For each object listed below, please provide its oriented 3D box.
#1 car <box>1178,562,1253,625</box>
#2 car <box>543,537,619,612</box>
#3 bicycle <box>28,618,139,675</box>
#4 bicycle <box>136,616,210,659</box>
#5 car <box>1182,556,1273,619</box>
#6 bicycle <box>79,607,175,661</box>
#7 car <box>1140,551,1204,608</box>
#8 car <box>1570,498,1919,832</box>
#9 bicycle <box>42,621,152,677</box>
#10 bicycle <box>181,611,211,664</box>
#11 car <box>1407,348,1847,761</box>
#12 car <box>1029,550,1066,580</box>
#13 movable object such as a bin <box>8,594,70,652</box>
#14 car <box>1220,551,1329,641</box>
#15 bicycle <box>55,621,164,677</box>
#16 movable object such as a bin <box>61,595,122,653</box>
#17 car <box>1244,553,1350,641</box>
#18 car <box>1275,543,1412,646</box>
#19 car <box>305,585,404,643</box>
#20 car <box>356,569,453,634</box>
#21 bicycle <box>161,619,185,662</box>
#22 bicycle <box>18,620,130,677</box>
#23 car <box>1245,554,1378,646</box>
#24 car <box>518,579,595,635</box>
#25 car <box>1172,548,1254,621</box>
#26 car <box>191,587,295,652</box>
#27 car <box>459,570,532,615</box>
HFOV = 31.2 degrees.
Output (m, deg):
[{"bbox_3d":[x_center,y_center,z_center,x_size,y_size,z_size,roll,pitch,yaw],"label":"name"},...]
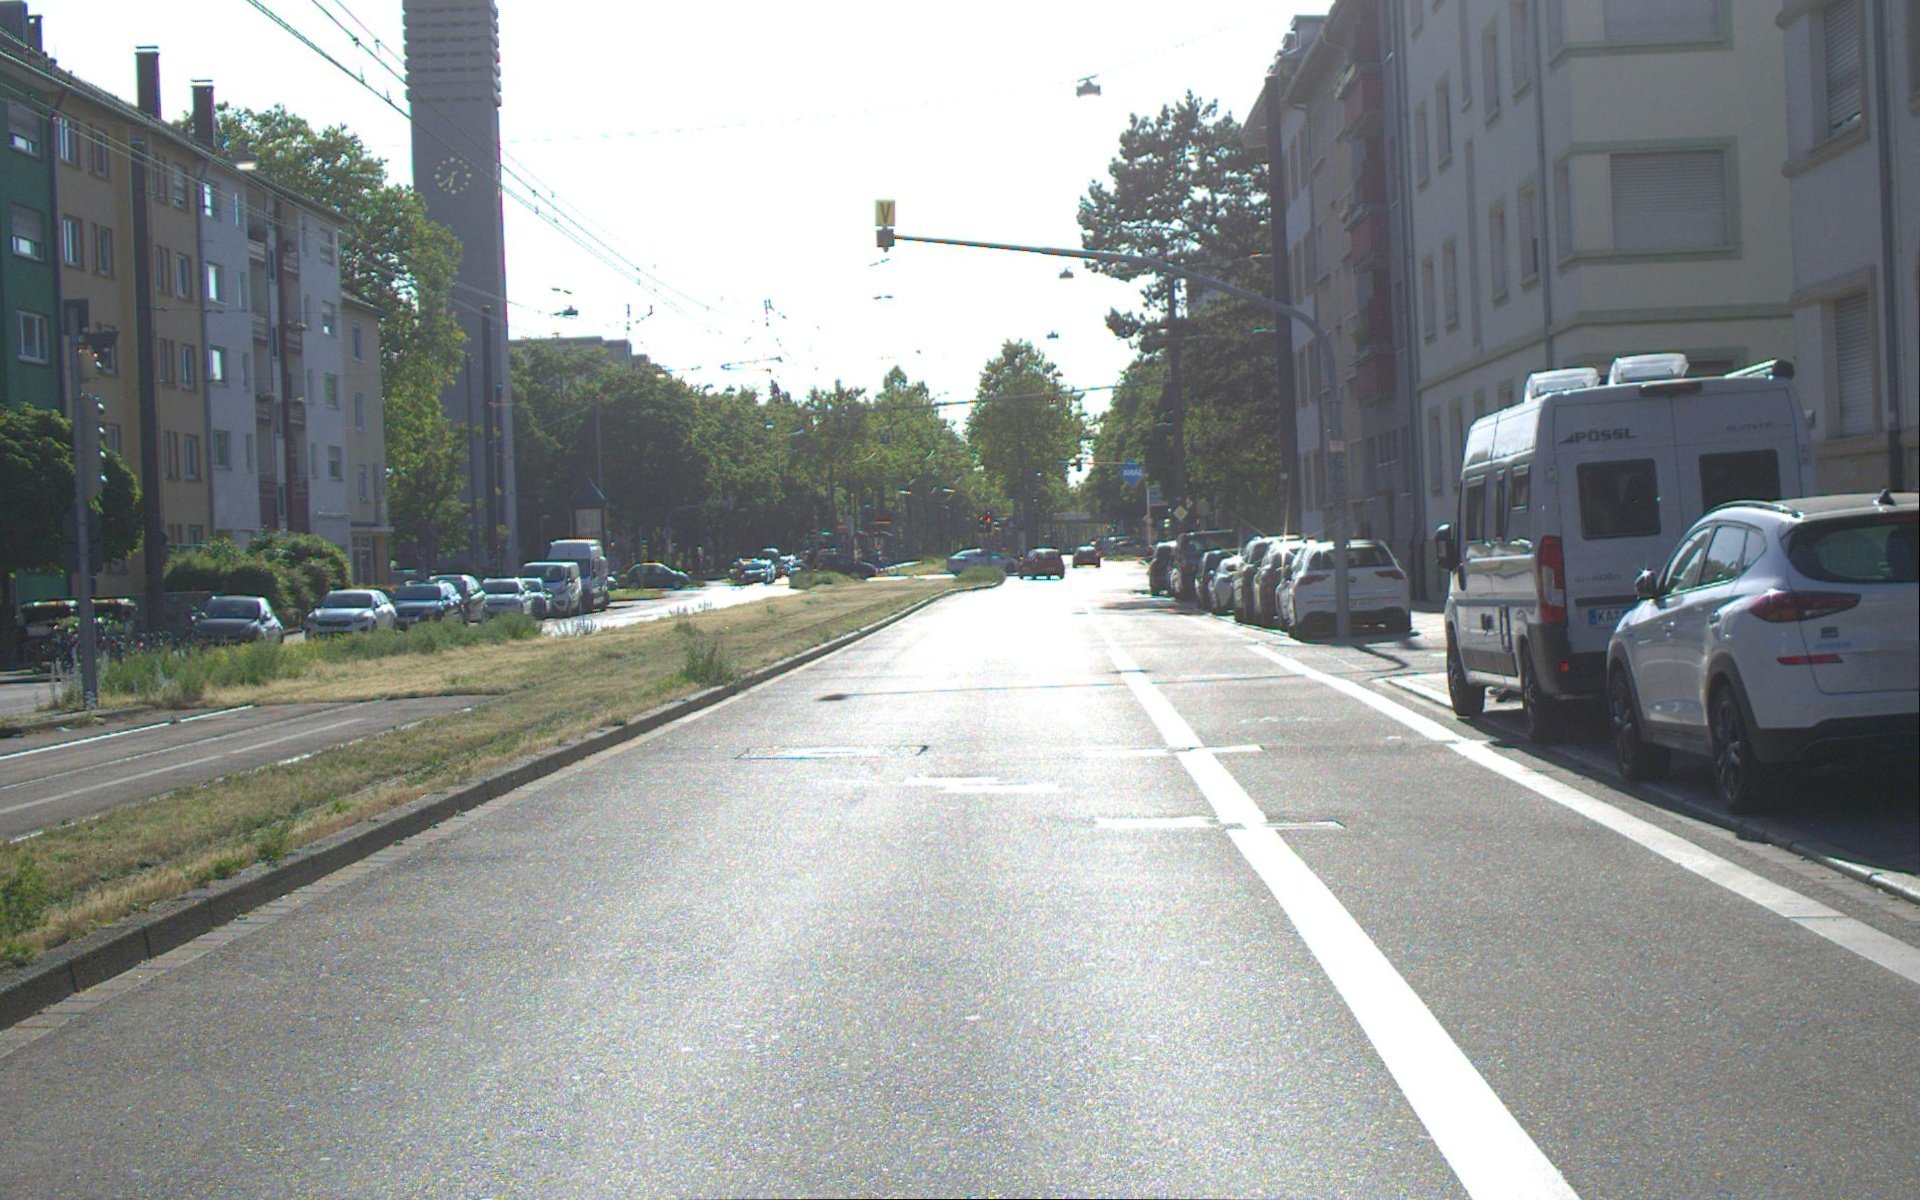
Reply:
[{"bbox_3d":[6.487,-0.177,87.689,1.635,1.449,3.789,-4,0,2],"label":"car"},{"bbox_3d":[-14.935,-1.011,135.744,2.032,2.859,6.227,0,0,2],"label":"car"},{"bbox_3d":[-17.472,0.915,68.534,2.048,1.089,0.615,1,0,8],"label":"bicycle"},{"bbox_3d":[-16.622,0.794,72.571,1.584,0.866,0.417,1,0,24],"label":"bicycle"},{"bbox_3d":[6.188,-0.309,79.923,1.702,1.271,4.303,-5,0,1],"label":"car"},{"bbox_3d":[-17.455,0.703,72.020,2.051,1.089,0.614,1,1,29],"label":"bicycle"},{"bbox_3d":[7.018,-0.679,114.221,1.879,1.711,4.933,-5,0,3],"label":"car"},{"bbox_3d":[4.852,0.278,19.505,1.847,1.631,4.575,-3,1,-1],"label":"car"},{"bbox_3d":[-17.372,0.978,69.218,2.048,1.089,0.615,1,0,8],"label":"bicycle"},{"bbox_3d":[-16.175,0.789,72.799,0.509,1.089,1.936,1,1,-10],"label":"bicycle"},{"bbox_3d":[4.966,-0.342,26.647,2.151,2.687,6.292,-4,0,1],"label":"car"},{"bbox_3d":[4.338,-1.733,170.497,1.694,1.503,3.699,0,1,-1],"label":"car"},{"bbox_3d":[-22.213,0.550,82.922,1.147,1.363,1.039,1,0,4],"label":"movable object such as a bin"},{"bbox_3d":[6.297,-0.089,69.288,1.635,1.642,4.374,-4,1,-1],"label":"car"},{"bbox_3d":[-17.301,0.986,69.949,2.048,1.089,0.615,1,0,8],"label":"bicycle"},{"bbox_3d":[-20.920,0.568,82.828,1.147,1.363,1.039,1,0,4],"label":"movable object such as a bin"},{"bbox_3d":[6.236,-0.075,63.972,1.635,1.512,4.188,-3,1,2],"label":"car"},{"bbox_3d":[5.881,-0.110,53.129,1.694,1.453,4.379,-3,1,2],"label":"car"},{"bbox_3d":[-16.095,0.350,91.506,1.729,1.449,4.376,-1,1,2],"label":"car"},{"bbox_3d":[-16.429,0.024,101.821,1.993,1.831,4.609,1,1,1],"label":"car"},{"bbox_3d":[-16.646,0.843,72.706,0.376,0.863,2.055,1,1,-10],"label":"bicycle"},{"bbox_3d":[-17.474,0.956,67.822,2.048,1.089,0.615,1,0,8],"label":"bicycle"},{"bbox_3d":[5.957,-0.019,58.602,1.635,1.453,4.082,-3,1,-2],"label":"car"},{"bbox_3d":[-15.024,0.243,128.280,2.032,2.014,5.370,1,1,2],"label":"car"},{"bbox_3d":[7.255,-0.441,99.073,1.913,1.893,5.135,-5,0,1],"label":"car"},{"bbox_3d":[-16.369,0.425,78.610,1.635,1.437,3.734,0,0,-1],"label":"car"},{"bbox_3d":[-15.714,-0.278,116.466,1.892,1.486,4.703,0,1,-1],"label":"car"}]
